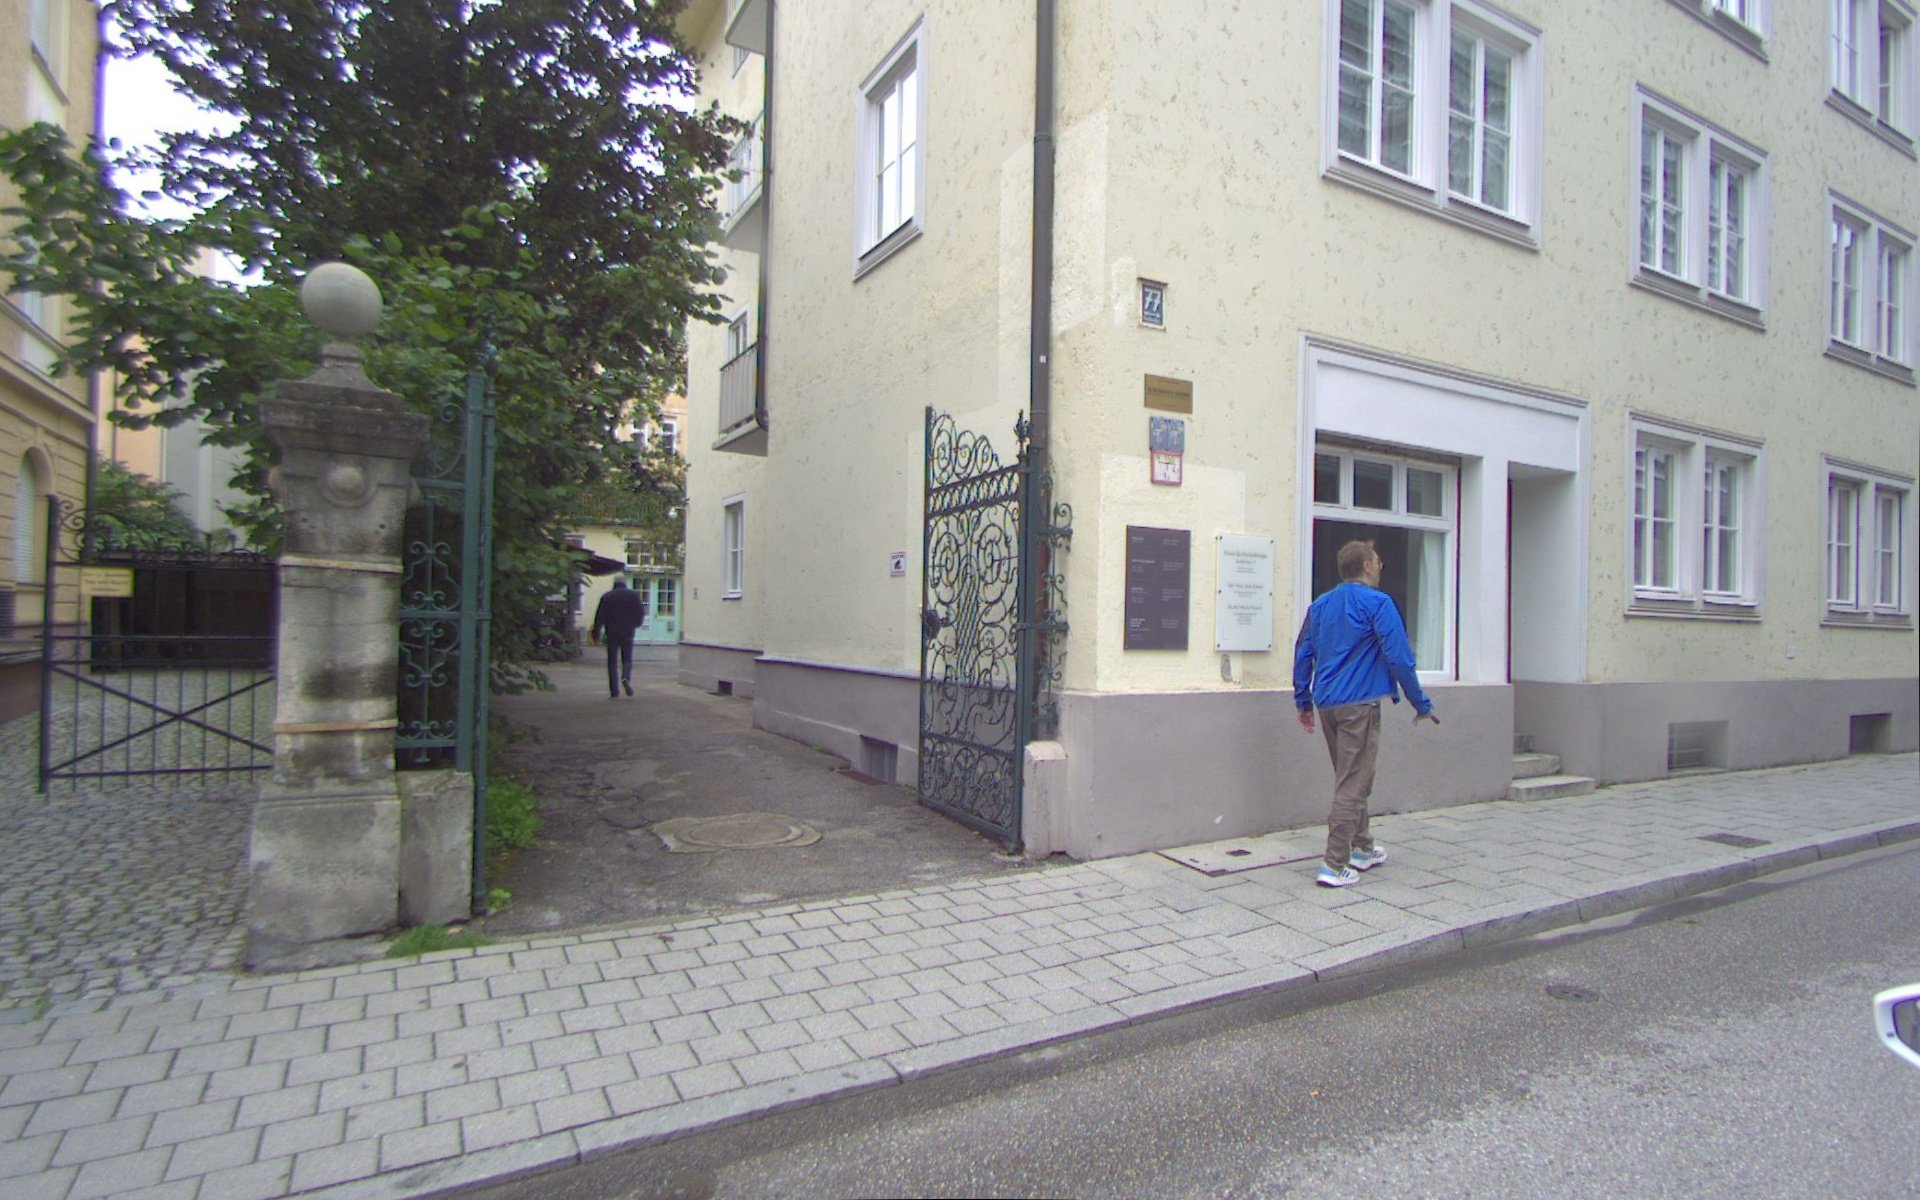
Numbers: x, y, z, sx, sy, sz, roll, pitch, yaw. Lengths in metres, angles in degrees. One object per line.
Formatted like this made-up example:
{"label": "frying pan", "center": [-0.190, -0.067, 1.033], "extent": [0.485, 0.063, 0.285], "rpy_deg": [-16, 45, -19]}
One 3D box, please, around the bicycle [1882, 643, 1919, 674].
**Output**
{"label": "bicycle", "center": [35.051, 2.152, 36.880], "extent": [0.590, 1.083, 1.651], "rpy_deg": [2, 0, -25]}

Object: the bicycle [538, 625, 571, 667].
{"label": "bicycle", "center": [-10.040, 1.117, 24.908], "extent": [0.688, 0.985, 1.880], "rpy_deg": [1, -1, -20]}

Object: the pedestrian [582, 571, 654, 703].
{"label": "pedestrian", "center": [-5.009, 0.531, 14.682], "extent": [0.895, 1.851, 0.951], "rpy_deg": [1, -1, -23]}

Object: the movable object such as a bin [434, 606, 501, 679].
{"label": "movable object such as a bin", "center": [-9.927, 0.851, 20.292], "extent": [1.091, 1.422, 1.221], "rpy_deg": [1, -1, -22]}

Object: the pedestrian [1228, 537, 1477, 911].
{"label": "pedestrian", "center": [2.194, 0.633, 5.633], "extent": [1.064, 1.879, 0.753], "rpy_deg": [2, 0, -30]}
